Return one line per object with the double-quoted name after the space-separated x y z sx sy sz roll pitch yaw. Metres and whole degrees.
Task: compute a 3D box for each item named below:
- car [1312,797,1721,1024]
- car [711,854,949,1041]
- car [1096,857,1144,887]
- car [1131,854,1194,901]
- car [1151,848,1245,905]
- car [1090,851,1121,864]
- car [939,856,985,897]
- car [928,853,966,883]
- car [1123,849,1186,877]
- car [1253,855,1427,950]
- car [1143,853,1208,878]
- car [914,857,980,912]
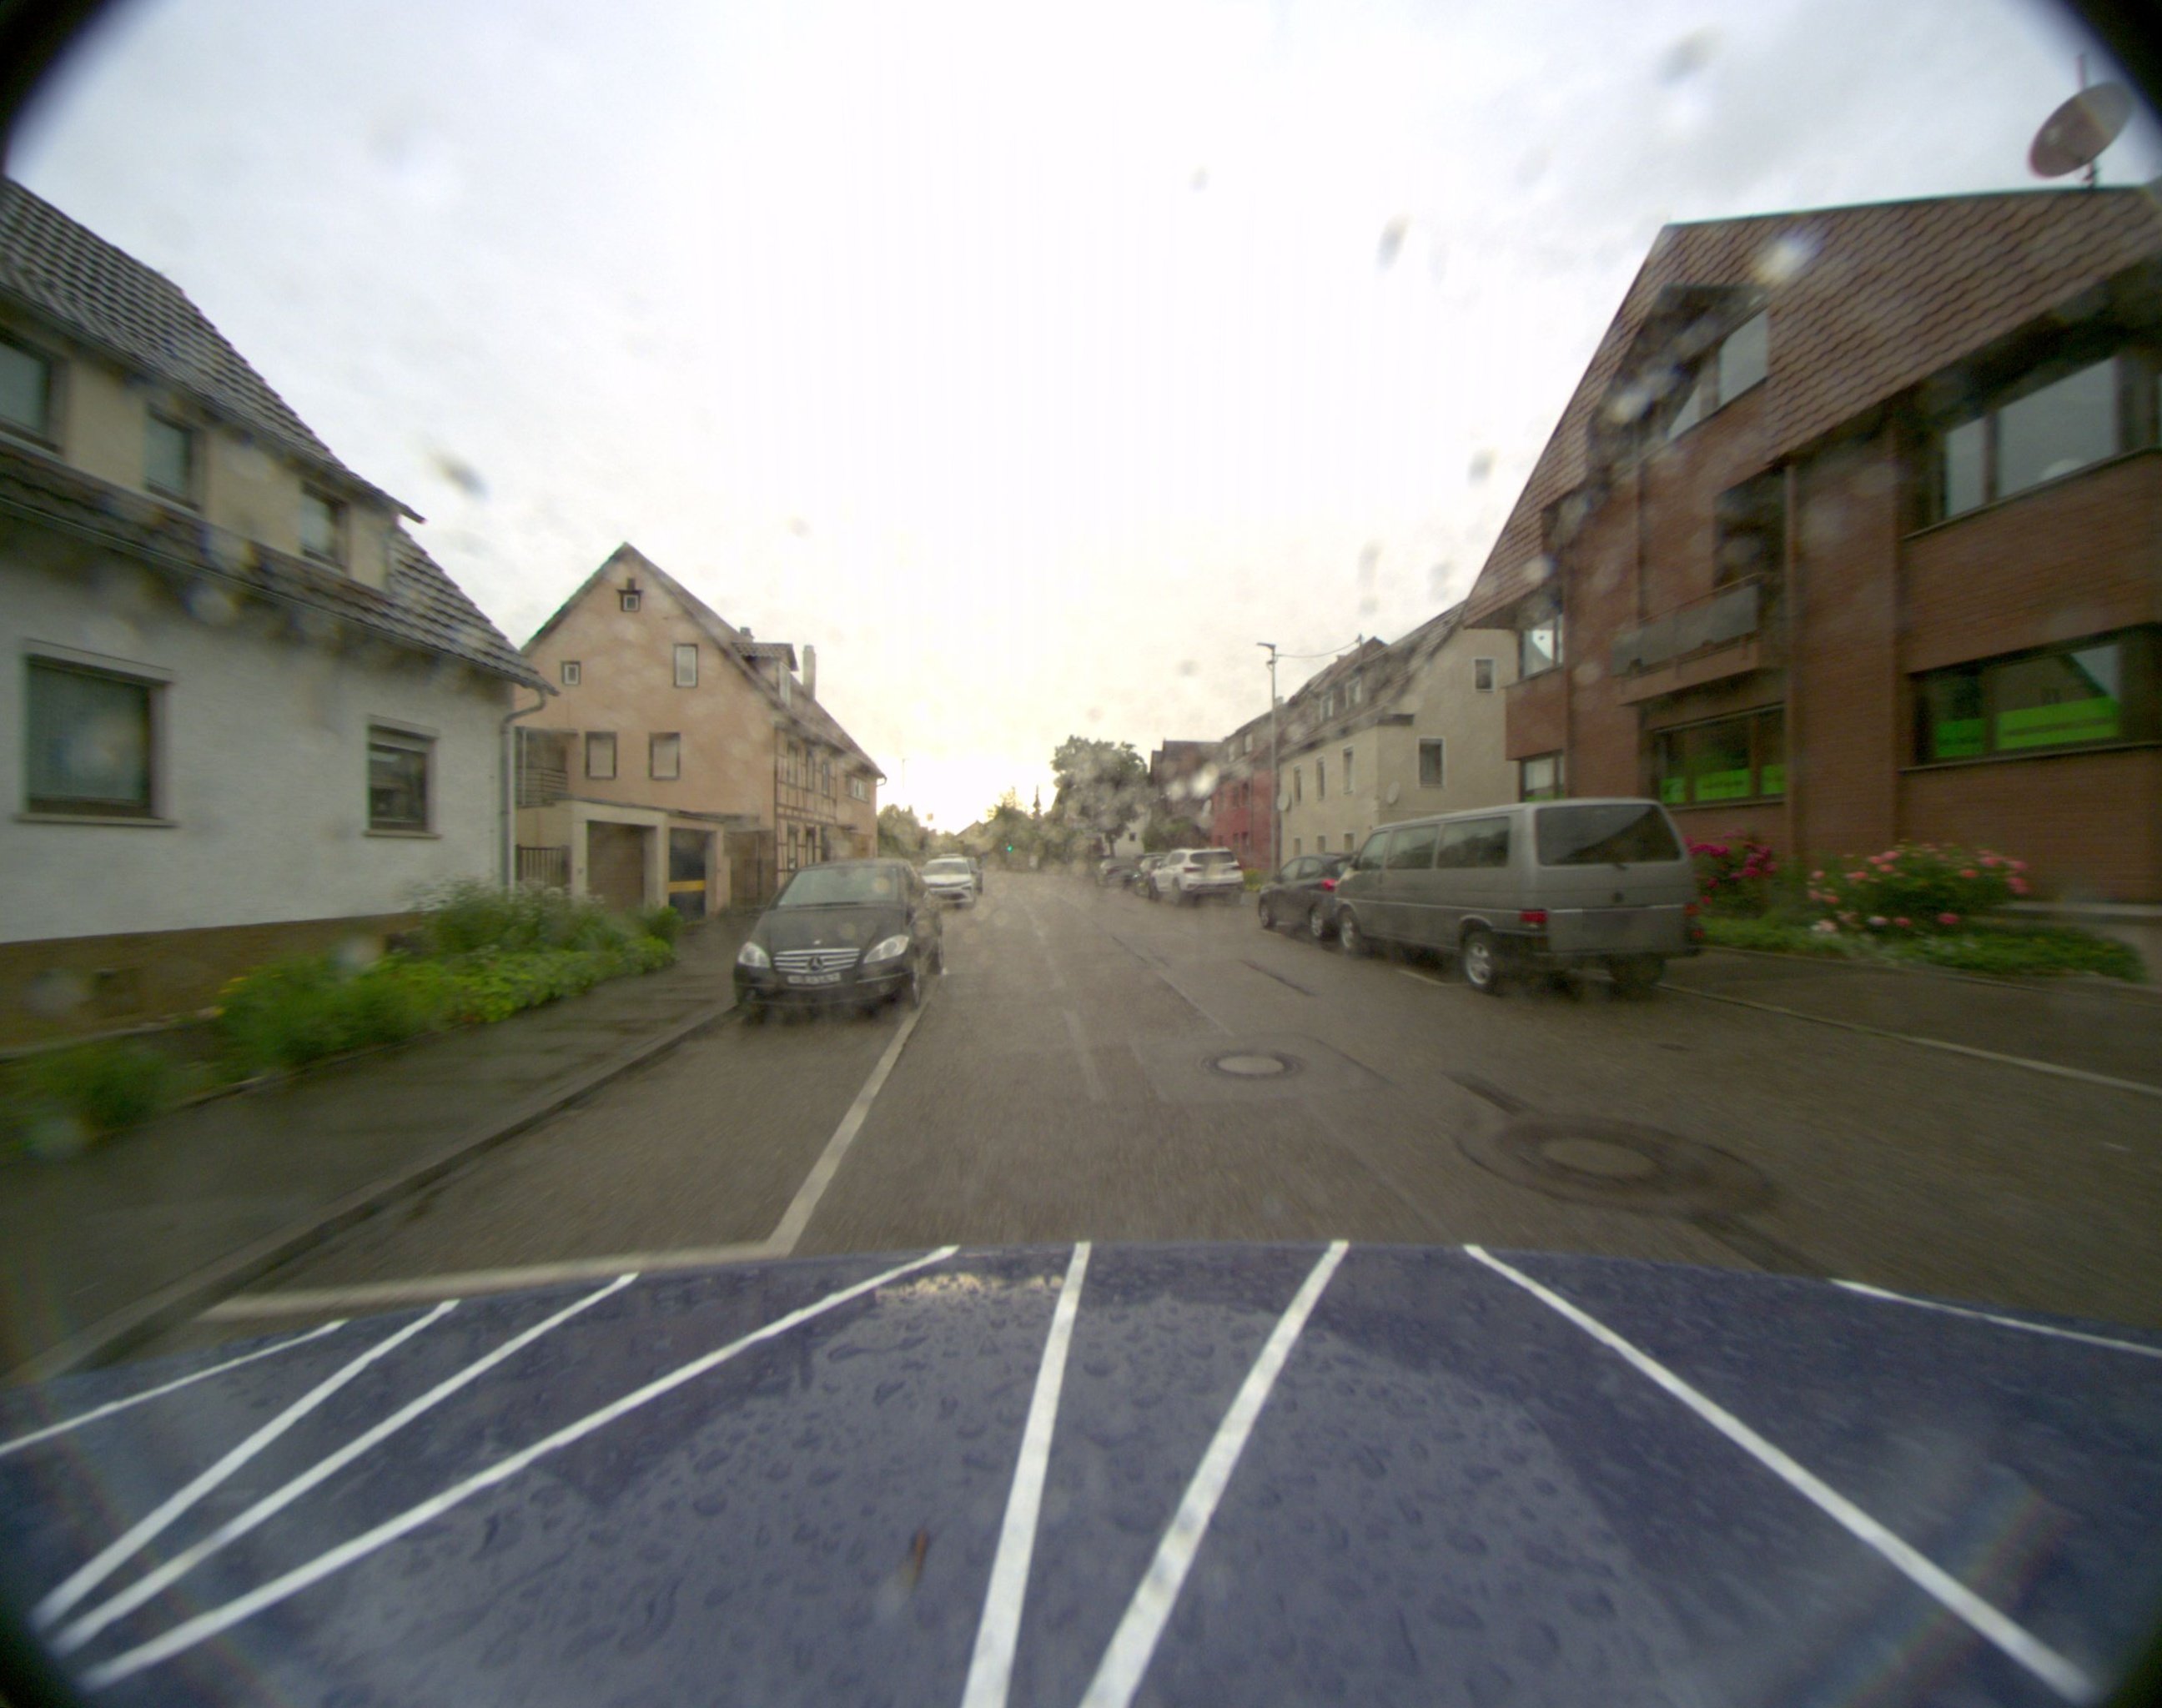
4.696 0.489 9.377 1.826 2.002 5.212 -1 0 -3 "car"
-2.659 0.853 9.019 1.754 1.700 3.998 0 0 -4 "car"
1.884 0.847 38.023 1.632 1.348 4.107 -2 1 -8 "car"
2.931 0.824 28.055 1.610 1.608 3.274 0 0 -7 "car"
3.512 0.628 23.703 1.770 1.610 4.653 0 0 -6 "car"
2.779 0.386 85.752 1.781 1.413 3.617 0 0 -31 "car"
-5.565 0.993 35.461 1.915 1.707 4.552 -2 1 -9 "car"
-9.257 0.899 52.133 1.938 1.891 4.786 -2 1 -17 "car"
4.470 0.556 46.680 3.585 1.497 1.855 -3 1 -3 "car"
4.554 0.766 13.906 1.583 1.488 3.564 0 0 -8 "car"
5.478 0.654 44.342 3.472 1.470 1.590 0 0 -6 "car"
-4.436 0.943 25.755 1.808 1.586 4.608 -2 1 -6 "car"
